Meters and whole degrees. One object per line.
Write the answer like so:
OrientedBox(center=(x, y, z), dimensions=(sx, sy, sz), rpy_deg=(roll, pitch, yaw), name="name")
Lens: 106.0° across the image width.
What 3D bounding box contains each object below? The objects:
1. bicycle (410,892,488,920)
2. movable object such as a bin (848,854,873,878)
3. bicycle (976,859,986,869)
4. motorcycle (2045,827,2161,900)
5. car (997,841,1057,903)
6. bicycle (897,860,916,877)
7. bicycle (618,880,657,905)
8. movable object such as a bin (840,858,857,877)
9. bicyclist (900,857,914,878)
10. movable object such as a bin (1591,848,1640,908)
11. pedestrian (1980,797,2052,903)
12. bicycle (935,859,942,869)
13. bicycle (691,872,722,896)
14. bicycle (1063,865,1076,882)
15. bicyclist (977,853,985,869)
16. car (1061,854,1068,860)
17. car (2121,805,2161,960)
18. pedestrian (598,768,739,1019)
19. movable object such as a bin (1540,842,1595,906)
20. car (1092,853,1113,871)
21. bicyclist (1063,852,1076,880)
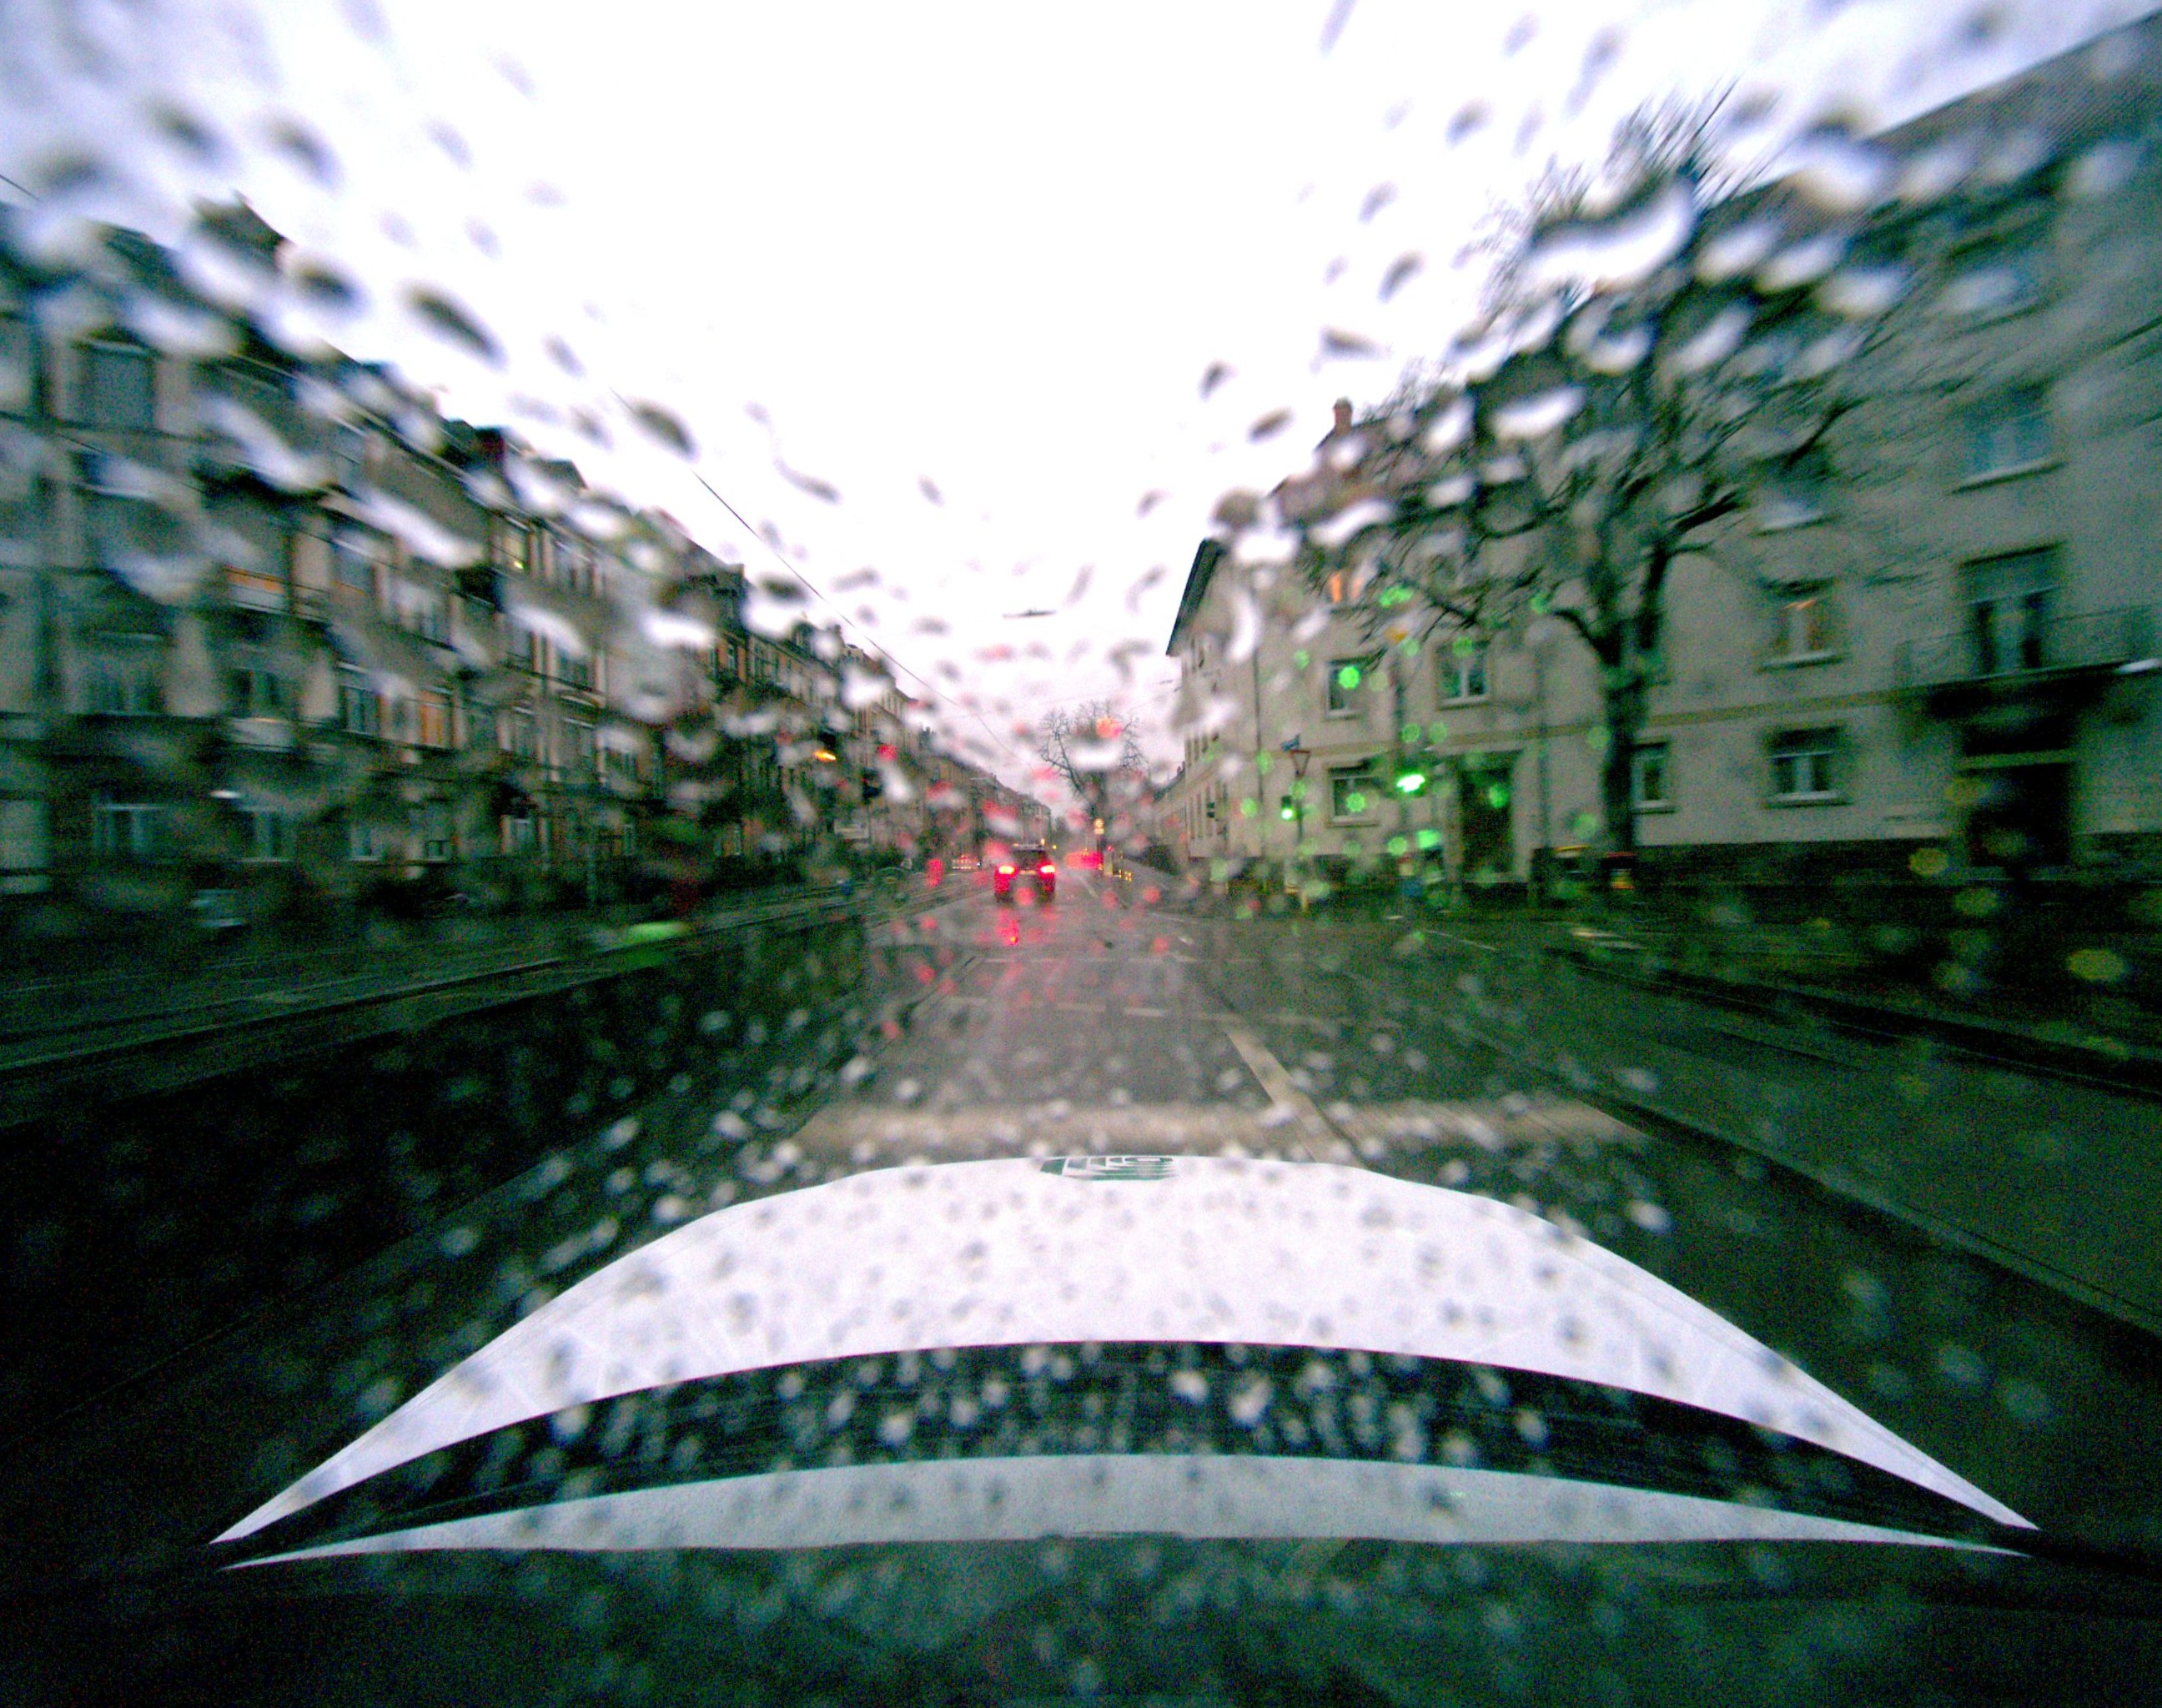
OrientedBox(center=(-19.350, 1.582, 24.968), dimensions=(0.395, 0.759, 1.822), rpy_deg=(-2, 0, 37), name="bicycle")
OrientedBox(center=(-15.225, 0.821, 56.164), dimensions=(1.237, 1.586, 1.310), rpy_deg=(-1, 0, 6), name="movable object such as a bin")
OrientedBox(center=(-10.144, 1.033, 82.562), dimensions=(0.675, 0.972, 1.934), rpy_deg=(-1, 0, 3), name="bicycle")
OrientedBox(center=(16.789, 0.140, 13.093), dimensions=(0.572, 1.105, 1.586), rpy_deg=(-5, 2, -34), name="motorcycle")
OrientedBox(center=(-1.842, 0.544, 26.824), dimensions=(1.799, 1.871, 4.010), rpy_deg=(1, 0, -6), name="car")
OrientedBox(center=(-11.445, 0.937, 53.460), dimensions=(0.679, 1.007, 1.804), rpy_deg=(-2, 0, 3), name="bicycle")
OrientedBox(center=(-16.813, 1.457, 30.914), dimensions=(0.398, 0.862, 1.850), rpy_deg=(-1, 0, 3), name="bicycle")
OrientedBox(center=(-15.751, 0.896, 55.233), dimensions=(0.892, 1.292, 0.746), rpy_deg=(-1, 0, -1), name="movable object such as a bin")
OrientedBox(center=(-11.438, 0.882, 53.537), dimensions=(0.701, 1.364, 0.944), rpy_deg=(0, 0, 2), name="bicyclist")
OrientedBox(center=(10.395, 0.458, 15.832), dimensions=(0.692, 1.120, 0.542), rpy_deg=(1, 0, 44), name="movable object such as a bin")
OrientedBox(center=(15.172, -0.065, 13.228), dimensions=(0.691, 1.660, 0.706), rpy_deg=(-2, 0, -41), name="pedestrian")
OrientedBox(center=(-13.817, 0.989, 79.178), dimensions=(0.262, 0.915, 1.686), rpy_deg=(4, 0, 2), name="bicycle")
OrientedBox(center=(-16.415, 1.307, 35.740), dimensions=(0.414, 1.007, 1.850), rpy_deg=(-1, 0, 3), name="bicycle")
OrientedBox(center=(-0.715, 1.199, 51.027), dimensions=(0.728, 1.007, 1.765), rpy_deg=(-1, 0, 3), name="bicycle")
OrientedBox(center=(-10.134, 0.739, 82.579), dimensions=(0.681, 1.616, 0.766), rpy_deg=(-1, 0, 2), name="bicyclist")
OrientedBox(center=(-4.775, 0.762, 238.624), dimensions=(1.916, 1.720, 4.001), rpy_deg=(-2, 0, 2), name="car")
OrientedBox(center=(12.650, 0.170, 6.877), dimensions=(1.909, 1.510, 4.700), rpy_deg=(-3, 0, -37), name="car")
OrientedBox(center=(-3.343, 0.295, 6.647), dimensions=(0.682, 1.917, 0.720), rpy_deg=(1, 0, 13), name="pedestrian")
OrientedBox(center=(9.793, 0.395, 16.392), dimensions=(0.844, 1.251, 0.525), rpy_deg=(1, 0, 44), name="movable object such as a bin")
OrientedBox(center=(1.899, 0.663, 71.601), dimensions=(1.779, 1.509, 3.988), rpy_deg=(-2, 0, 1), name="car")
OrientedBox(center=(-0.721, 0.742, 51.080), dimensions=(0.727, 1.736, 0.766), rpy_deg=(-1, 0, 2), name="bicyclist")
